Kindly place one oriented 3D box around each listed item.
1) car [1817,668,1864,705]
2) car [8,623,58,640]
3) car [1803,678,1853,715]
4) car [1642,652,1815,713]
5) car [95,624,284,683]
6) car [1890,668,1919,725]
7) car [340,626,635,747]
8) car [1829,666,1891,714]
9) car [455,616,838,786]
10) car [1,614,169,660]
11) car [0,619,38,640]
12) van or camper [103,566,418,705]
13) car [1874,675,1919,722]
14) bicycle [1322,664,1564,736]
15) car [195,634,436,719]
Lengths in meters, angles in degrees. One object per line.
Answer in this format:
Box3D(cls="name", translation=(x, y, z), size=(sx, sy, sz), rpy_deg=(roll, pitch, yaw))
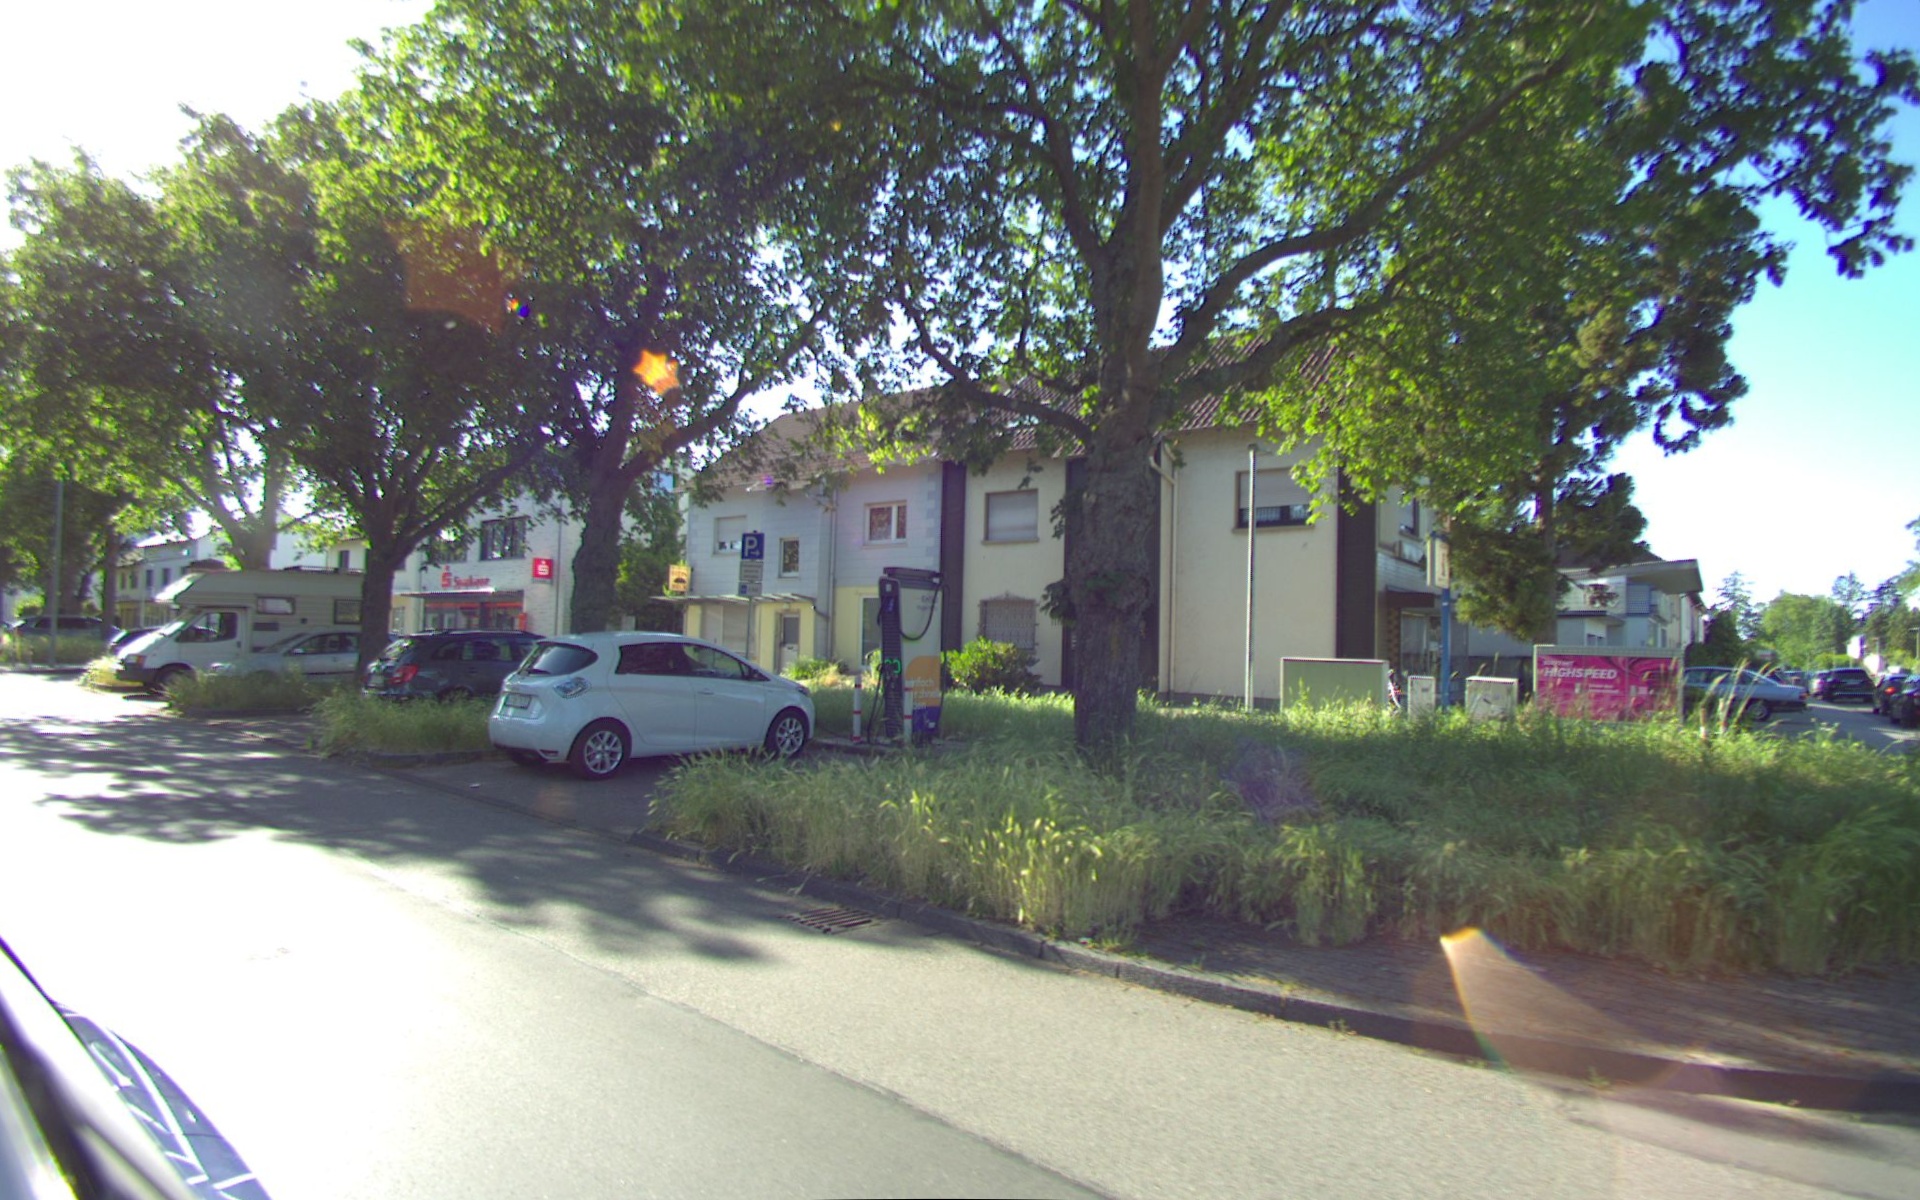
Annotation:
Box3D(cls="car", translation=(51.765, 5.060, 59.546), size=(1.999, 2.029, 3.945), rpy_deg=(-1, -3, 41))
Box3D(cls="car", translation=(-104.759, 3.547, 114.356), size=(1.999, 1.696, 3.946), rpy_deg=(0, 0, 40))
Box3D(cls="car", translation=(52.209, 5.788, 60.929), size=(1.997, 2.029, 3.950), rpy_deg=(-1, -3, 37))
Box3D(cls="car", translation=(21.555, 2.264, 28.512), size=(3.755, 1.530, 1.781), rpy_deg=(-1, -3, 39))
Box3D(cls="car", translation=(-21.116, 1.417, 27.849), size=(1.640, 1.461, 3.942), rpy_deg=(0, -1, 44))
Box3D(cls="car", translation=(27.784, 2.730, 28.644), size=(1.999, 1.551, 3.945), rpy_deg=(-1, -4, 41))
Box3D(cls="car", translation=(-7.644, 1.295, 16.642), size=(1.998, 1.601, 3.947), rpy_deg=(0, 0, 40))
Box3D(cls="car", translation=(44.750, 4.423, 50.387), size=(1.997, 1.962, 3.949), rpy_deg=(0, 0, 38))
Box3D(cls="car", translation=(-3.585, 1.093, 12.138), size=(1.965, 1.673, 3.946), rpy_deg=(-1, -3, 40))
Box3D(cls="car", translation=(-36.428, 1.485, 42.274), size=(1.997, 1.741, 5.014), rpy_deg=(0, 0, 37))
Box3D(cls="car", translation=(-64.458, 1.958, 67.384), size=(1.999, 1.427, 4.336), rpy_deg=(0, -2, 40))
Box3D(cls="van or camper", translation=(-15.962, 0.711, 23.405), size=(2.000, 2.826, 5.713), rpy_deg=(0, 0, 43))
Box3D(cls="car", translation=(33.830, 3.482, 35.907), size=(1.818, 1.551, 3.818), rpy_deg=(-1, -4, 39))
Box3D(cls="bicycle", translation=(8.987, 1.848, 19.081), size=(4.033, 1.185, 0.700), rpy_deg=(0, -3, 25))
Box3D(cls="car", translation=(-13.674, 1.542, 21.642), size=(1.998, 1.469, 3.947), rpy_deg=(0, 0, 39))
